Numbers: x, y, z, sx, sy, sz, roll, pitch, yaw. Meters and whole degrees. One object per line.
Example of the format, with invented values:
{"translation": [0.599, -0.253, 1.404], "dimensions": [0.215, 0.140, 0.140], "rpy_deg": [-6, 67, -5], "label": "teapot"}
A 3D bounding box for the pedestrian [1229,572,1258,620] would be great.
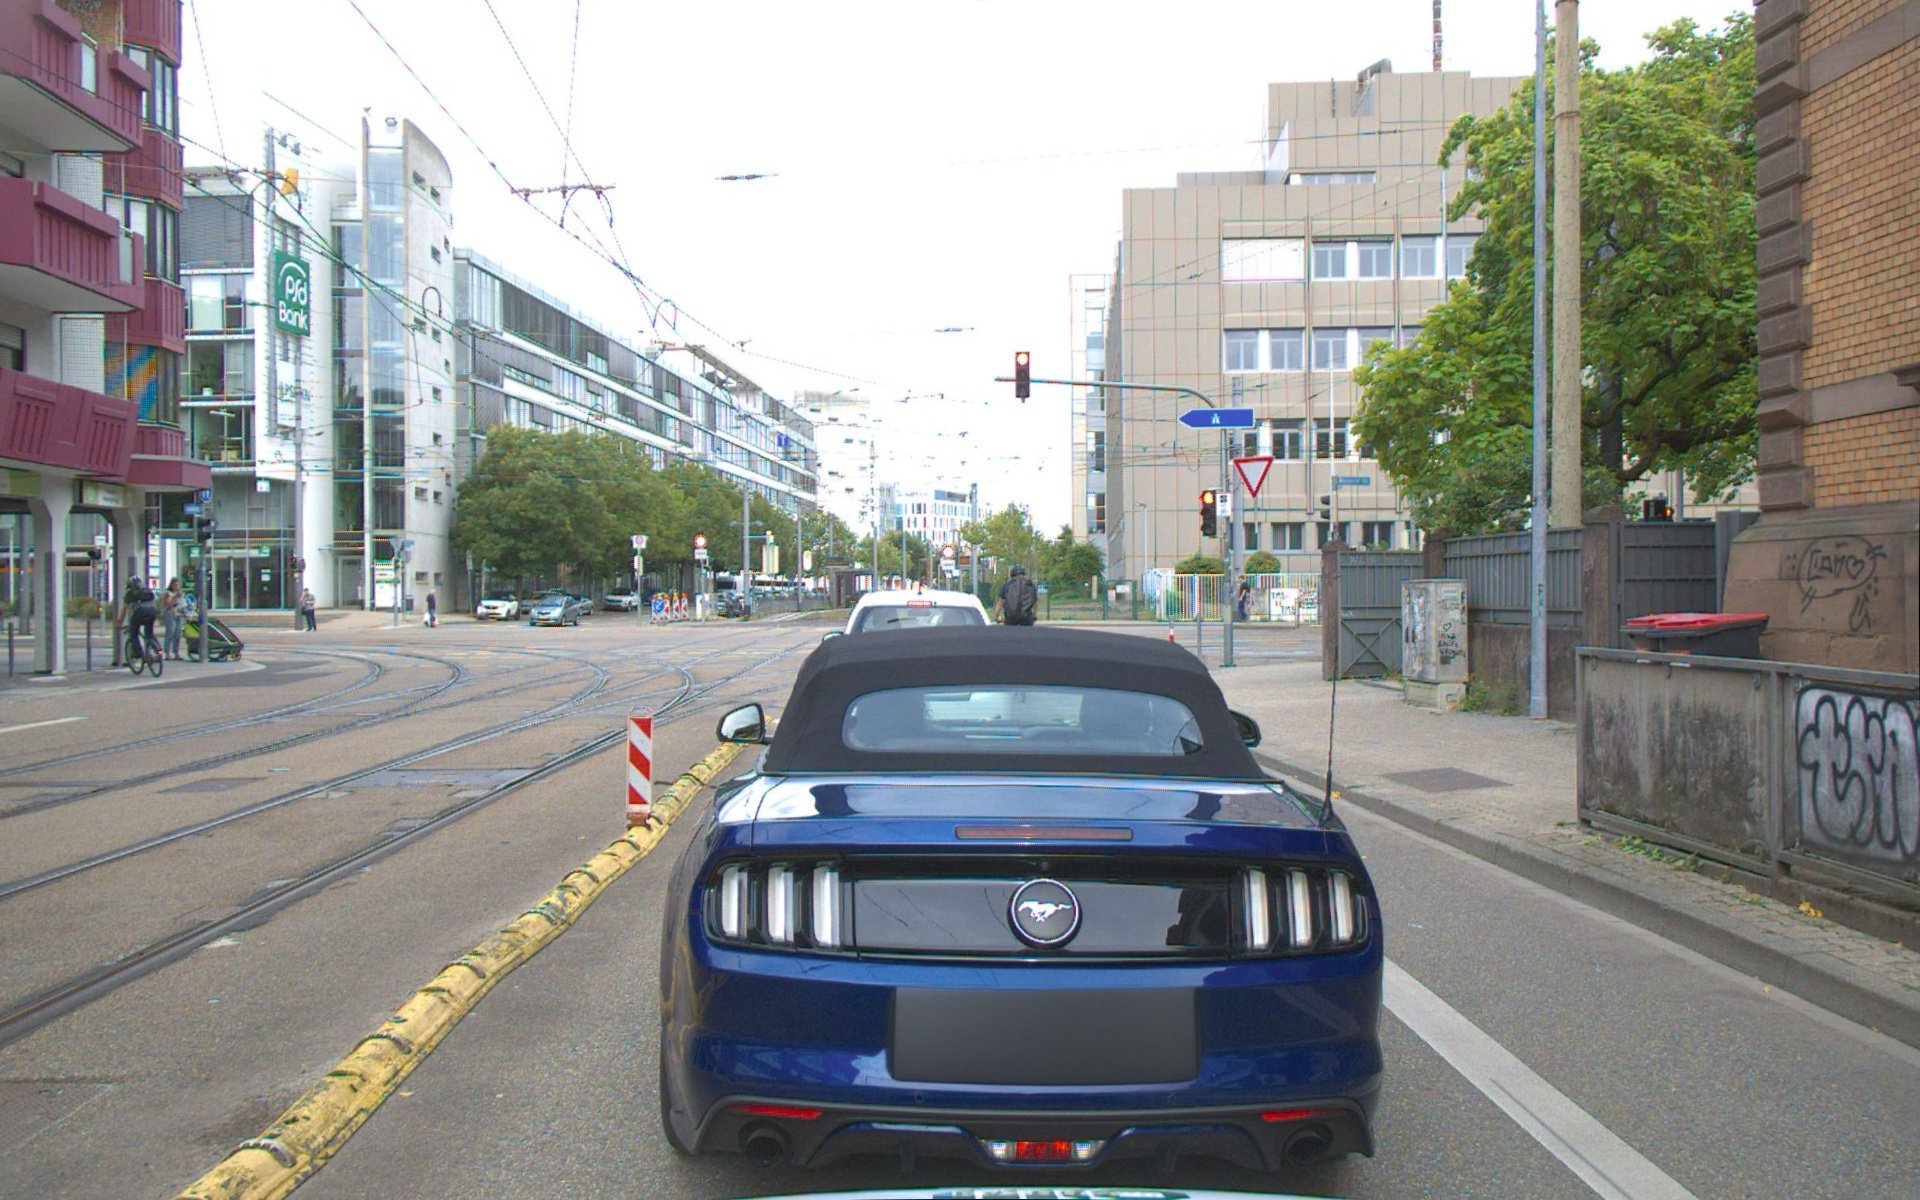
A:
{"translation": [11.725, -0.168, 68.445], "dimensions": [1.063, 1.931, 0.902], "rpy_deg": [-1, 0, 4], "label": "pedestrian"}

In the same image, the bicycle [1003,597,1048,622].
{"translation": [2.882, 0.419, 72.754], "dimensions": [0.629, 0.998, 2.125], "rpy_deg": [-1, -2, -42], "label": "bicycle"}

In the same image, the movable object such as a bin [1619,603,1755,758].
{"translation": [5.543, 0.601, 12.641], "dimensions": [0.638, 1.101, 0.677], "rpy_deg": [-4, 0, -6], "label": "movable object such as a bin"}

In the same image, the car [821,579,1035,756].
{"translation": [-0.442, 0.556, 16.140], "dimensions": [1.799, 1.464, 4.183], "rpy_deg": [-1, 0, -5], "label": "car"}

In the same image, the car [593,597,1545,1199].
{"translation": [0.196, 0.732, 5.357], "dimensions": [1.838, 1.428, 4.282], "rpy_deg": [1, 0, -1], "label": "car"}

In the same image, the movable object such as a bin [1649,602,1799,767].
{"translation": [5.495, 0.592, 11.924], "dimensions": [0.650, 1.101, 0.700], "rpy_deg": [-4, 0, -6], "label": "movable object such as a bin"}

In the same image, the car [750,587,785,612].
{"translation": [-12.851, -0.052, 110.582], "dimensions": [1.830, 1.634, 4.212], "rpy_deg": [-1, 0, -1], "label": "car"}

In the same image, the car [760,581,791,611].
{"translation": [-12.911, -0.273, 115.749], "dimensions": [1.749, 2.022, 4.120], "rpy_deg": [-1, 0, -1], "label": "car"}

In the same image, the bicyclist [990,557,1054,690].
{"translation": [0.871, 0.319, 23.457], "dimensions": [0.780, 1.816, 1.232], "rpy_deg": [-1, 0, -3], "label": "bicyclist"}

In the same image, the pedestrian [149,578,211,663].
{"translation": [-16.436, 0.420, 34.865], "dimensions": [0.929, 1.774, 0.811], "rpy_deg": [0, 0, -5], "label": "pedestrian"}

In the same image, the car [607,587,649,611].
{"translation": [-23.231, -0.059, 115.985], "dimensions": [1.945, 1.584, 4.513], "rpy_deg": [1, 1, 0], "label": "car"}

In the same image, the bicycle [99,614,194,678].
{"translation": [-14.678, 0.808, 29.817], "dimensions": [2.320, 1.105, 0.760], "rpy_deg": [0, 0, 43], "label": "bicycle"}

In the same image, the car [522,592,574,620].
{"translation": [-24.321, 0.341, 97.772], "dimensions": [1.791, 1.584, 4.218], "rpy_deg": [1, 1, 3], "label": "car"}

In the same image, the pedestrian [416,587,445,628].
{"translation": [-24.641, 0.335, 76.988], "dimensions": [0.968, 1.888, 0.902], "rpy_deg": [-1, 0, 6], "label": "pedestrian"}

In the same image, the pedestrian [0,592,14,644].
{"translation": [-31.541, 0.586, 53.923], "dimensions": [0.915, 1.700, 0.766], "rpy_deg": [-1, 0, 11], "label": "pedestrian"}

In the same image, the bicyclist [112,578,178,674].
{"translation": [-14.707, 0.457, 29.840], "dimensions": [1.037, 1.680, 0.747], "rpy_deg": [0, 0, 43], "label": "bicyclist"}

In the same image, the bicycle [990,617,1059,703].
{"translation": [0.885, 0.814, 23.287], "dimensions": [0.784, 1.105, 2.130], "rpy_deg": [-1, 0, -3], "label": "bicycle"}

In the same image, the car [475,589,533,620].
{"translation": [-24.948, 0.230, 90.656], "dimensions": [1.791, 1.584, 4.218], "rpy_deg": [1, 1, 3], "label": "car"}

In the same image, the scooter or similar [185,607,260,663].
{"translation": [-15.568, 0.726, 34.952], "dimensions": [1.172, 1.148, 0.946], "rpy_deg": [0, 0, -3], "label": "scooter or similar"}

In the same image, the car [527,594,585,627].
{"translation": [-20.177, 0.515, 82.724], "dimensions": [1.633, 1.533, 4.236], "rpy_deg": [1, 1, 3], "label": "car"}

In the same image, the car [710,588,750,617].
{"translation": [-13.469, 0.116, 97.038], "dimensions": [1.841, 1.657, 4.086], "rpy_deg": [-1, 0, -1], "label": "car"}

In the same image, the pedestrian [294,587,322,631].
{"translation": [-28.271, 0.380, 71.723], "dimensions": [0.816, 1.897, 0.766], "rpy_deg": [-1, 0, 11], "label": "pedestrian"}
